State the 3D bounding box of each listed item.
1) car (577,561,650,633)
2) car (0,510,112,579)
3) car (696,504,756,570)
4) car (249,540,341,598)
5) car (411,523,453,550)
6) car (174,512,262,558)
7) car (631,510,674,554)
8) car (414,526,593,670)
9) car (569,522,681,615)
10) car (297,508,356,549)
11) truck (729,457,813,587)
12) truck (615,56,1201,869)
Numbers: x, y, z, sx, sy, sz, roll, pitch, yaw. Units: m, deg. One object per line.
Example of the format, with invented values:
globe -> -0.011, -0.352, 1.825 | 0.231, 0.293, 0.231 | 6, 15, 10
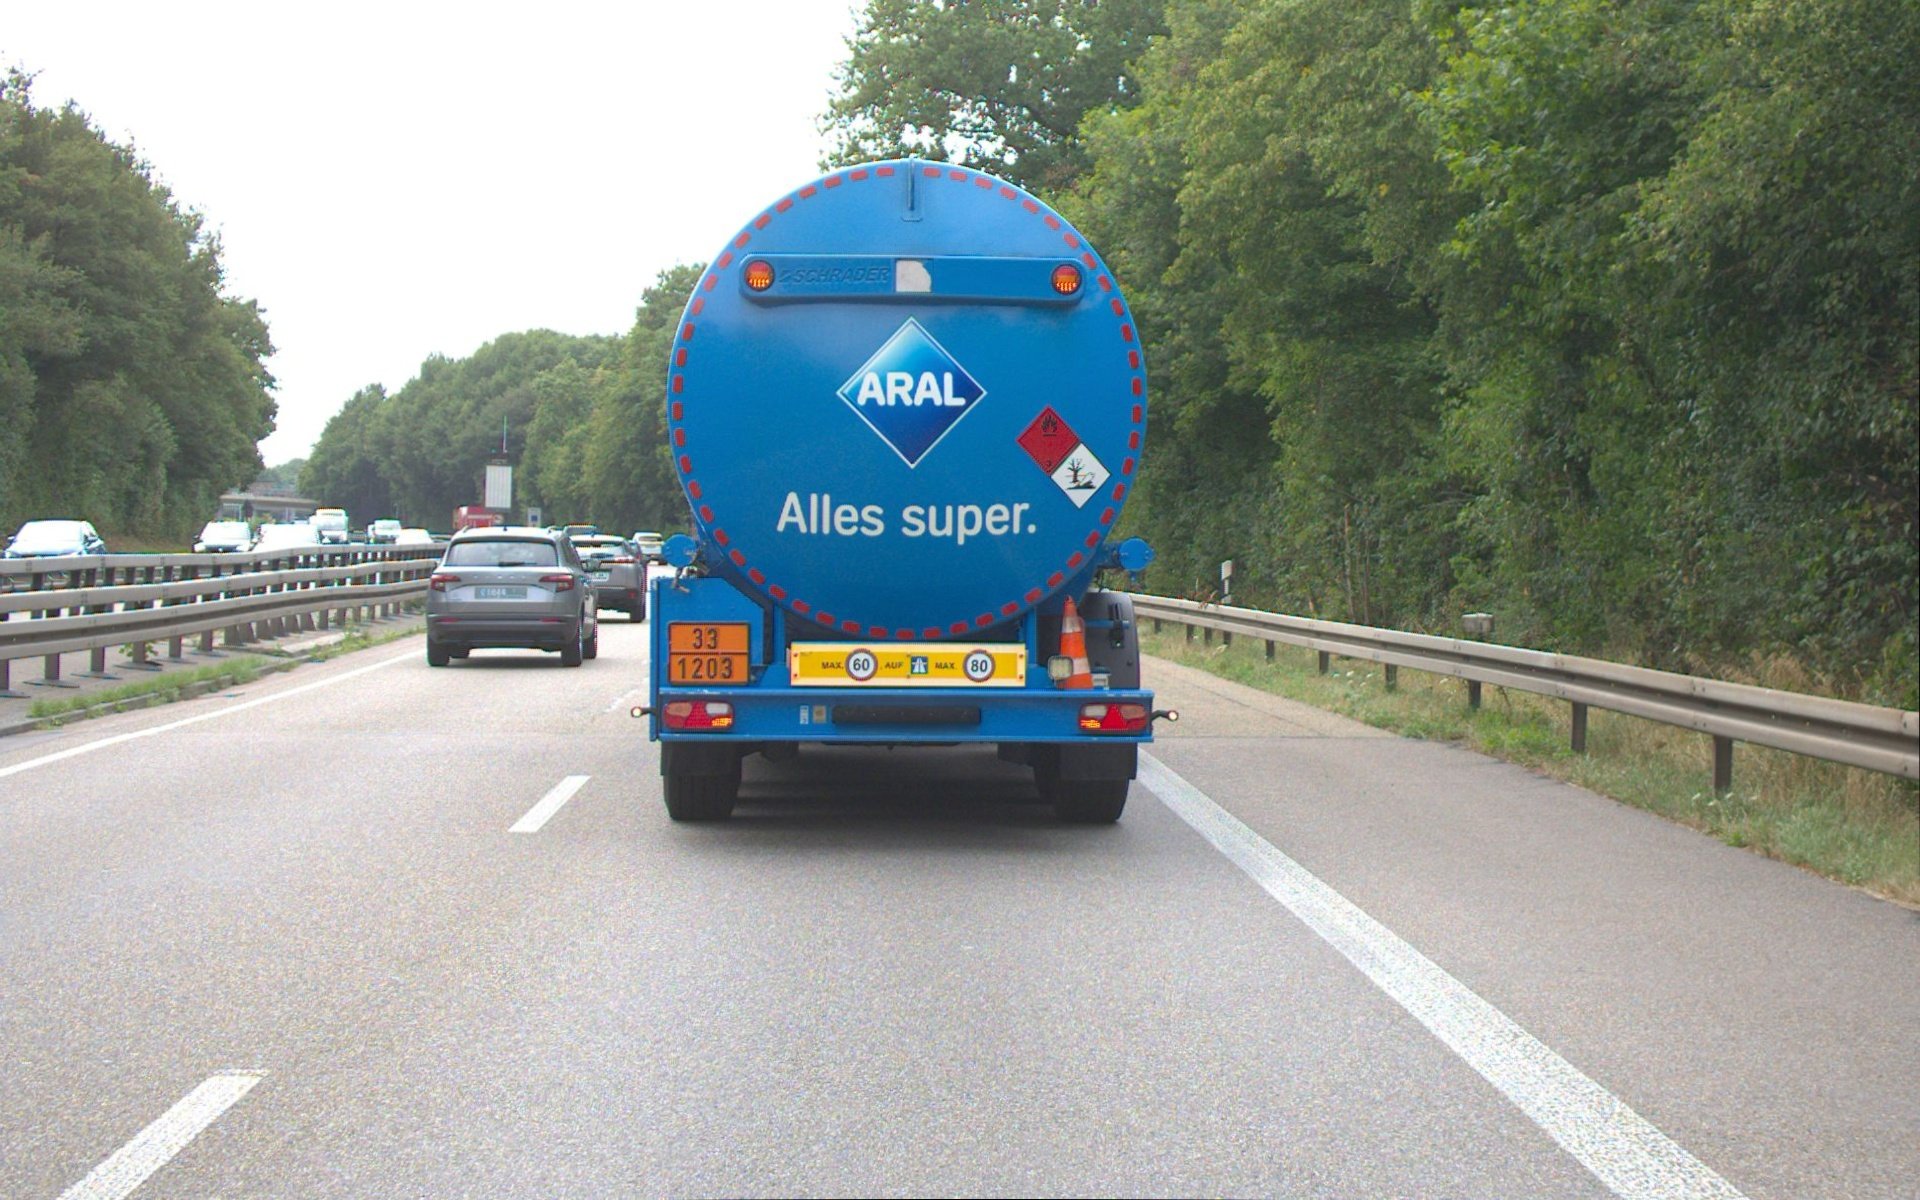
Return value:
car -> -9.836, -0.108, 97.849 | 1.993, 2.007, 4.001 | 0, 1, -5
car -> -19.642, -1.181, 74.348 | 1.811, 1.445, 4.057 | 0, 1, -3
car -> -8.074, -2.159, 118.441 | 1.993, 2.237, 4.001 | 0, 1, -4
car -> -16.658, -0.781, 86.238 | 1.711, 1.422, 4.057 | 0, 1, -3
car -> -26.424, -3.165, 172.099 | 1.655, 1.274, 4.714 | 2, 0, -4
car -> -21.601, -1.881, 100.192 | 1.977, 1.295, 4.069 | 0, 1, -4
car -> -15.829, -3.475, 176.888 | 1.993, 2.237, 4.001 | 0, 1, -8
car -> -5.352, -0.041, 40.739 | 1.826, 1.604, 4.168 | 0, 1, -4
car -> -6.000, -0.570, 61.881 | 1.826, 1.604, 4.168 | 0, 1, -3
car -> -28.567, -3.213, 155.058 | 2.034, 1.798, 5.124 | 0, 1, -4
truck -> -4.700, -1.908, 86.133 | 1.993, 3.082, 7.816 | 0, 1, -3
truck -> -0.386, -0.708, 20.151 | 2.755, 3.833, 7.689 | 0, 1, -2
